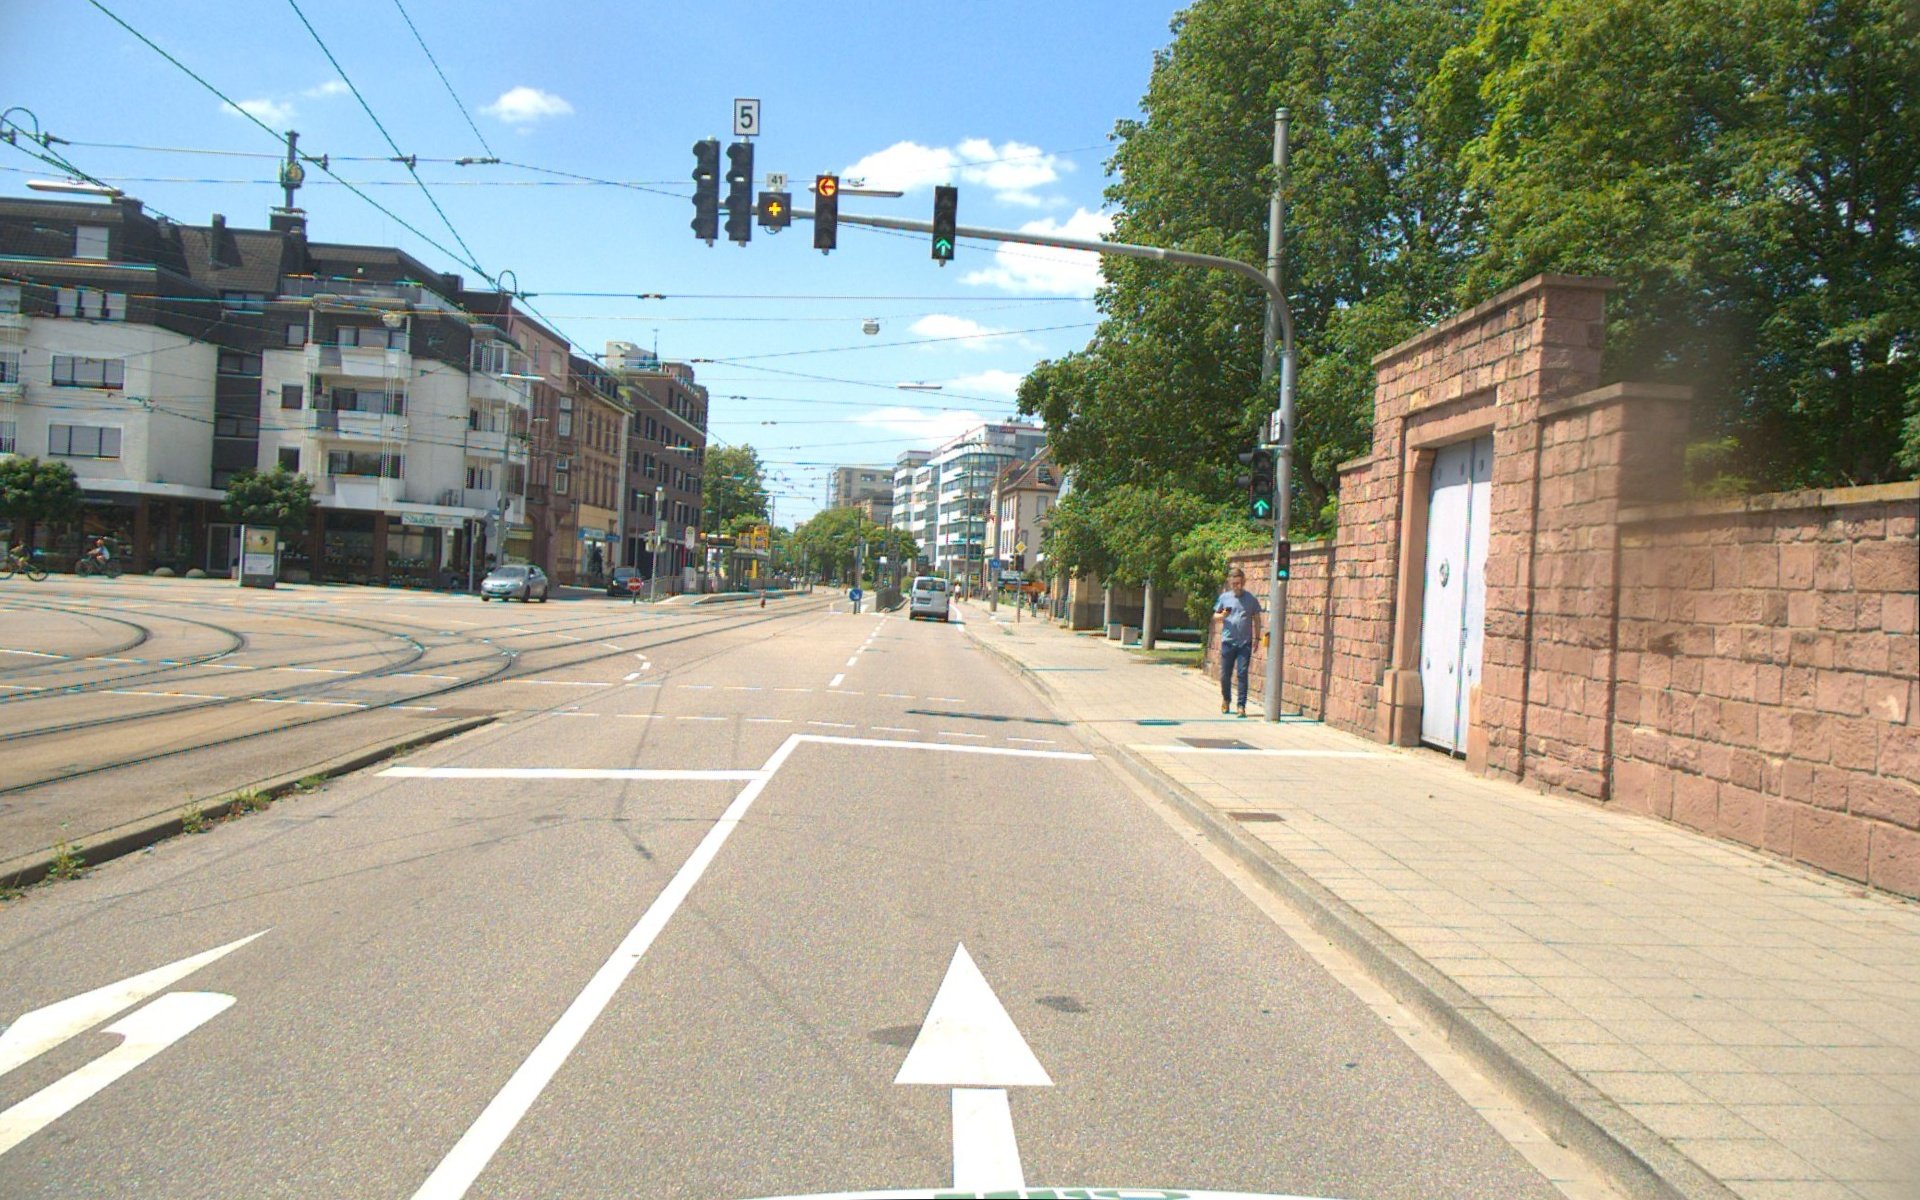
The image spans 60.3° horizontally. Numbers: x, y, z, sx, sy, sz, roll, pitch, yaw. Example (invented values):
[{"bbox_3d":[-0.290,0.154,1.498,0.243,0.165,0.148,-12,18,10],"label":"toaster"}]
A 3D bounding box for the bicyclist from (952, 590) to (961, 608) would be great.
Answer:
[{"bbox_3d":[-0.278,-0.113,137.097,0.579,1.421,0.841,3,0,-4],"label":"bicyclist"}]

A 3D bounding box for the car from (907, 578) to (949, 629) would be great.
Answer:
[{"bbox_3d":[-1.429,0.133,71.933,1.717,2.048,3.999,2,1,-2],"label":"car"}]

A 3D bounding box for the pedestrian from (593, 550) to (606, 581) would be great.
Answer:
[{"bbox_3d":[-24.229,-2.310,111.140,0.605,2.048,0.810,4,-1,-3],"label":"pedestrian"}]

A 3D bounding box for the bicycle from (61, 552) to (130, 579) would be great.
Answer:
[{"bbox_3d":[-32.748,-1.288,62.663,2.231,0.951,0.663,1,-1,-35],"label":"bicycle"}]

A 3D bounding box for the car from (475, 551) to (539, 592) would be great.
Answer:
[{"bbox_3d":[-17.870,-1.120,65.453,1.957,1.497,4.391,3,1,-10],"label":"car"}]

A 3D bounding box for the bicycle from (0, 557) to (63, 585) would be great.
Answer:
[{"bbox_3d":[-32.641,-1.011,57.766,2.219,0.896,0.415,1,-1,-23],"label":"bicycle"}]

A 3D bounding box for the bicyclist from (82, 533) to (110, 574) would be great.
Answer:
[{"bbox_3d":[-32.727,-1.750,62.641,0.838,1.494,0.648,1,-1,-34],"label":"bicyclist"}]

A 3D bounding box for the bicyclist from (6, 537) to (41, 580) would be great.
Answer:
[{"bbox_3d":[-32.738,-1.441,57.845,0.947,1.447,0.627,1,-1,-22],"label":"bicyclist"}]

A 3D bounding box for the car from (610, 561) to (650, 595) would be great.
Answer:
[{"bbox_3d":[-18.114,-1.250,90.865,1.690,1.712,4.275,3,1,-6],"label":"car"}]

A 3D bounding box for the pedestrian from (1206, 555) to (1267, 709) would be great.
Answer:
[{"bbox_3d":[3.445,0.391,20.660,0.700,1.884,0.768,0,0,5],"label":"pedestrian"}]

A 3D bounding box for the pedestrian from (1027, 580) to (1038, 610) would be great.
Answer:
[{"bbox_3d":[3.889,-0.281,89.178,0.565,1.583,0.786,1,-1,2],"label":"pedestrian"}]
